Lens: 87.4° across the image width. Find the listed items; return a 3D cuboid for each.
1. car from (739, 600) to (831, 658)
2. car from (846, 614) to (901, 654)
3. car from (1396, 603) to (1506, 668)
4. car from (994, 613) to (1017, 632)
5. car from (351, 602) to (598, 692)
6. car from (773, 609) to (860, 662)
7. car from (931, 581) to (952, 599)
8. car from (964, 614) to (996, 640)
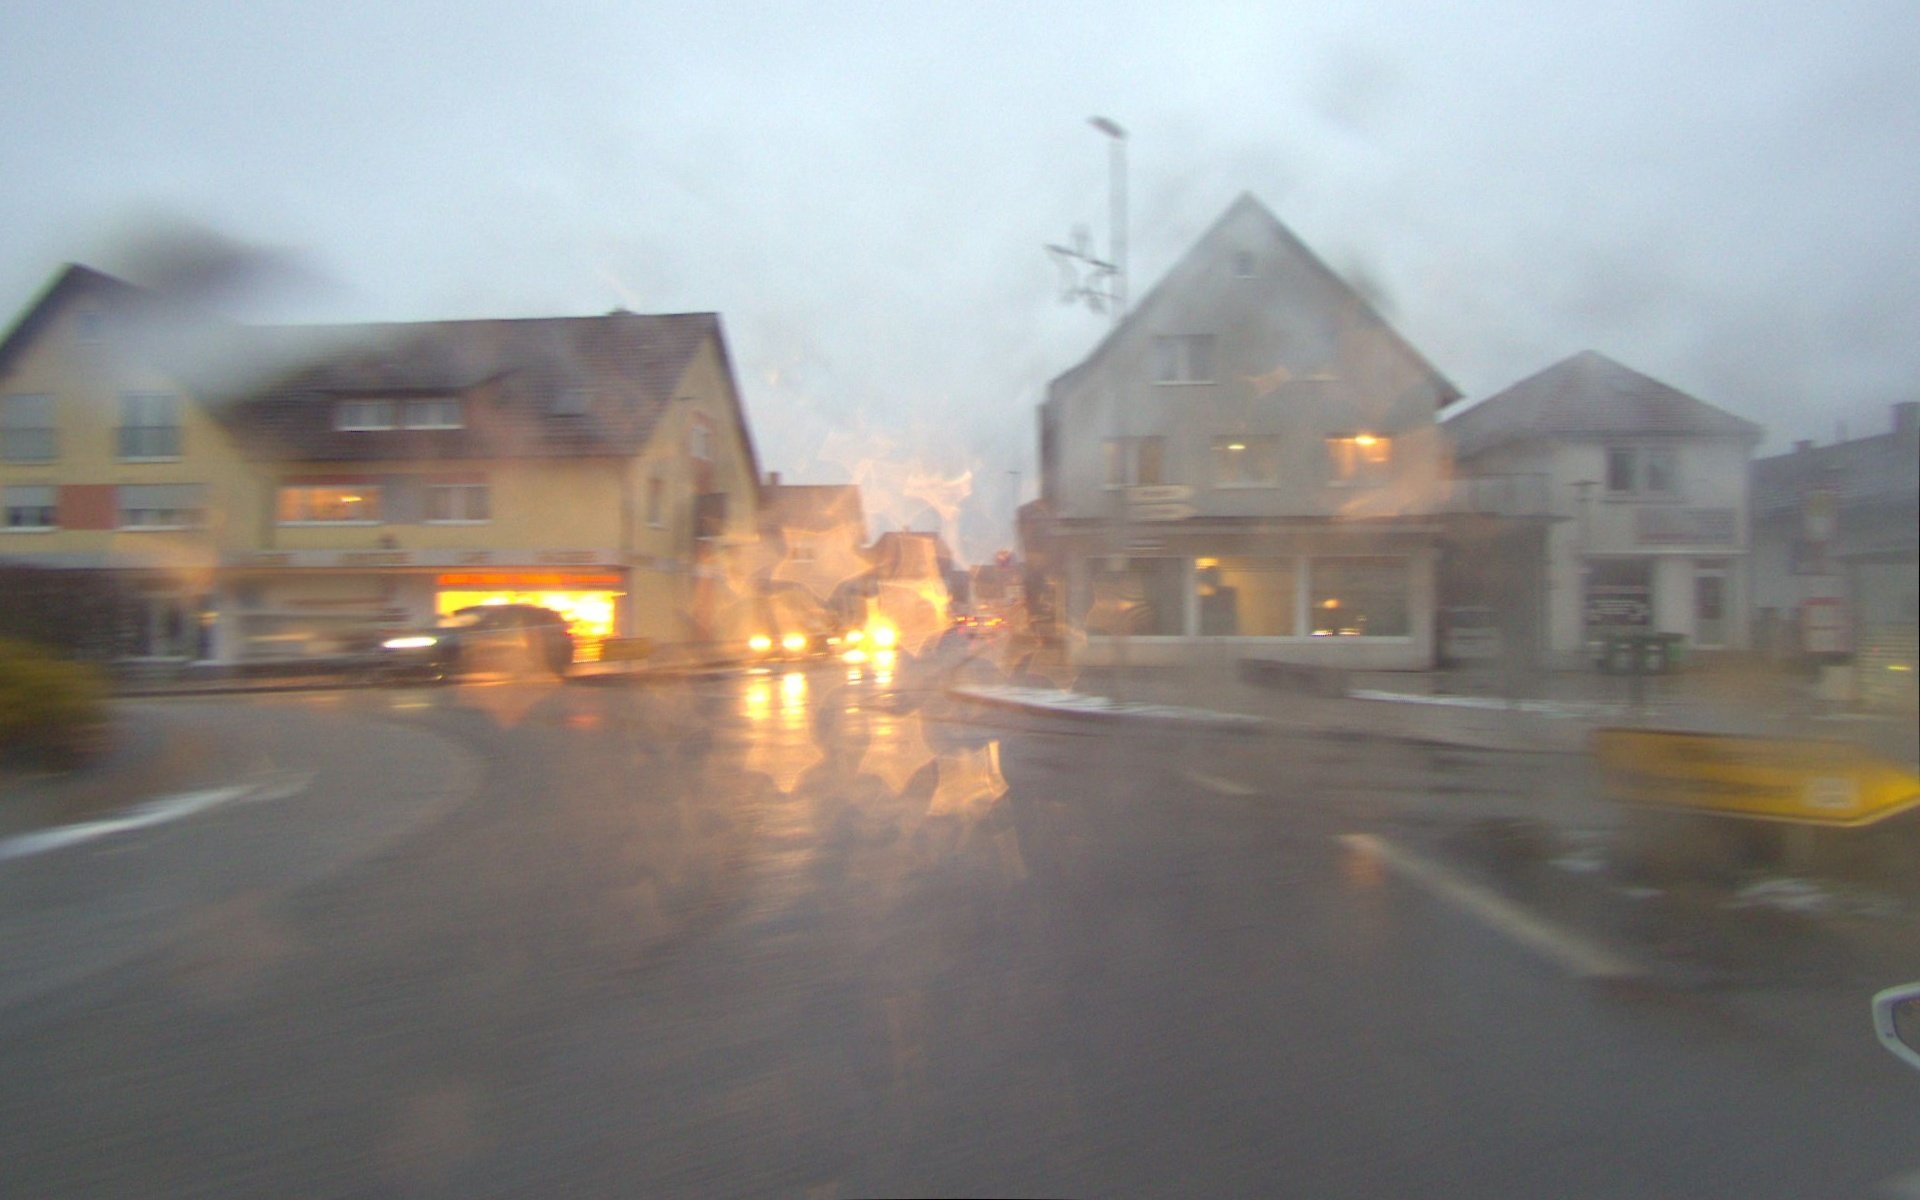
[{"bbox_3d":[-5.788,0.937,33.726,1.960,1.791,4.371,0,-1,5],"label":"car"},{"bbox_3d":[-4.032,1.586,47.572,1.960,1.791,4.370,0,-1,4],"label":"car"},{"bbox_3d":[14.693,1.034,30.270,1.772,1.821,4.002,0,-1,7],"label":"car"},{"bbox_3d":[4.018,1.949,88.019,1.901,1.639,3.867,0,-1,3],"label":"car"},{"bbox_3d":[-10.157,0.909,21.345,1.966,1.689,4.357,-1,-1,33],"label":"car"},{"bbox_3d":[-4.090,0.992,29.178,1.735,1.422,3.917,0,-1,3],"label":"car"},{"bbox_3d":[-1.759,-0.981,98.034,1.842,1.705,4.001,0,-1,2],"label":"car"},{"bbox_3d":[1.318,1.698,64.397,1.901,1.639,3.867,0,-1,3],"label":"car"}]
